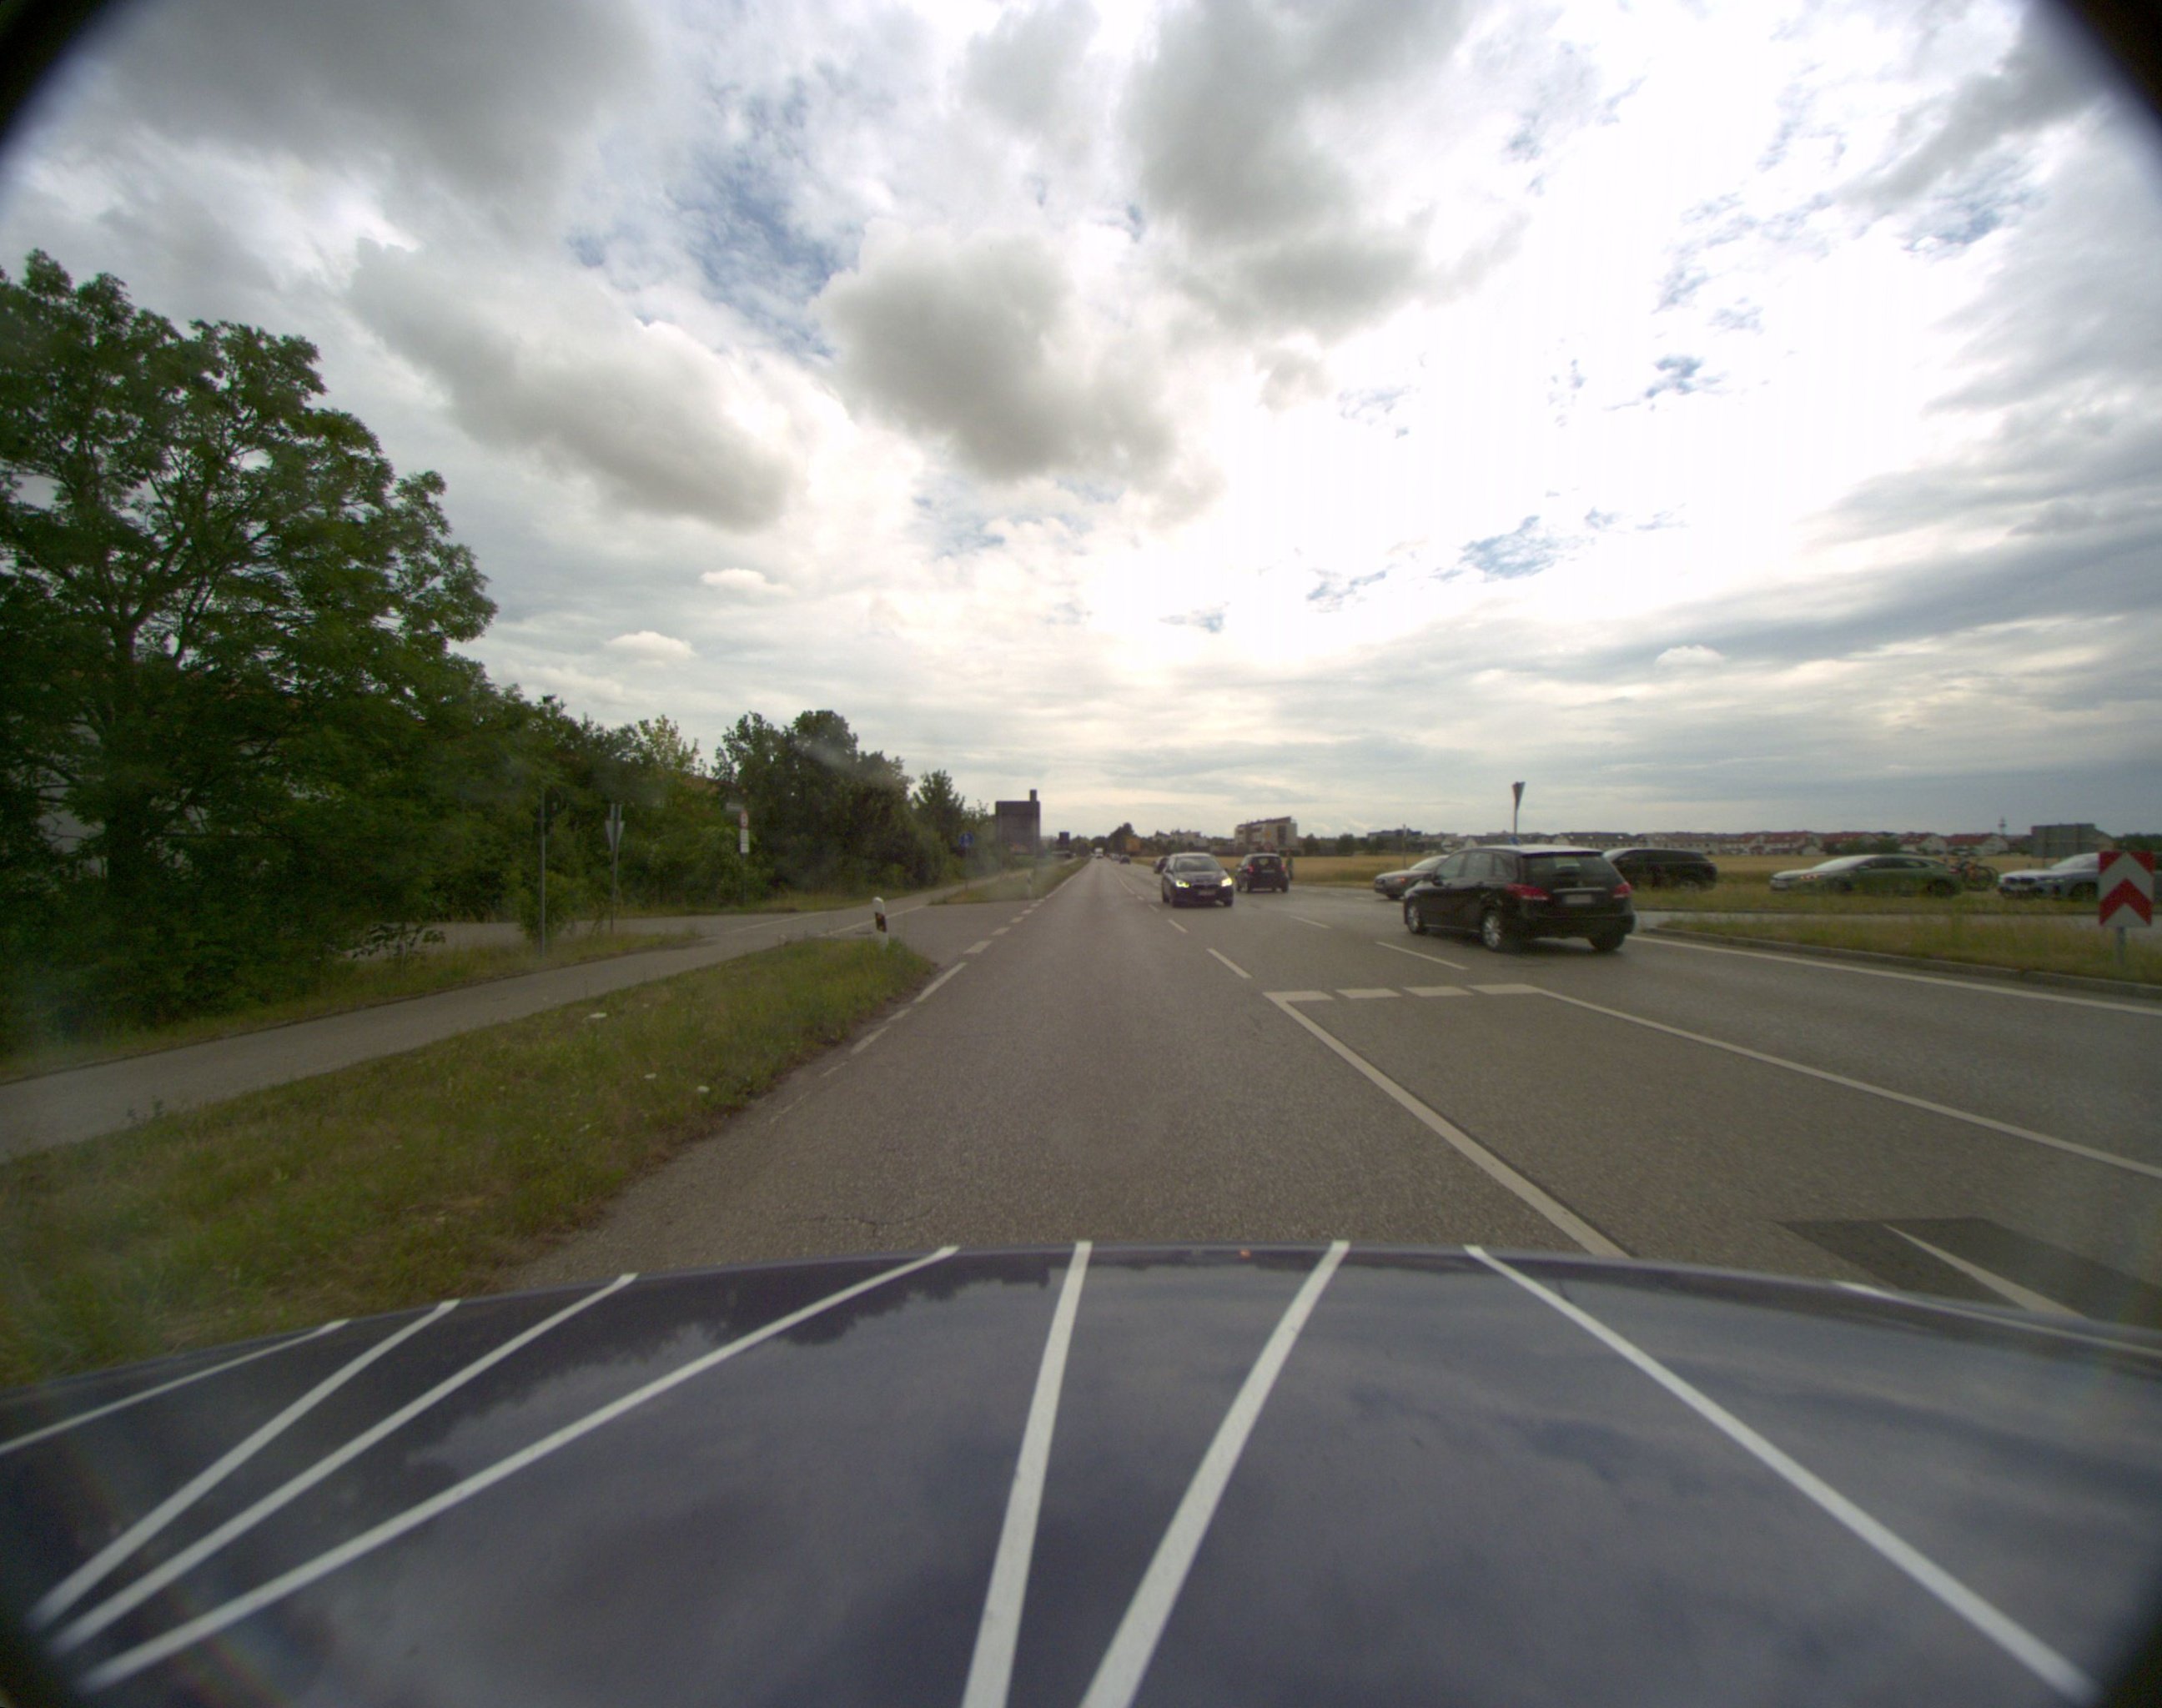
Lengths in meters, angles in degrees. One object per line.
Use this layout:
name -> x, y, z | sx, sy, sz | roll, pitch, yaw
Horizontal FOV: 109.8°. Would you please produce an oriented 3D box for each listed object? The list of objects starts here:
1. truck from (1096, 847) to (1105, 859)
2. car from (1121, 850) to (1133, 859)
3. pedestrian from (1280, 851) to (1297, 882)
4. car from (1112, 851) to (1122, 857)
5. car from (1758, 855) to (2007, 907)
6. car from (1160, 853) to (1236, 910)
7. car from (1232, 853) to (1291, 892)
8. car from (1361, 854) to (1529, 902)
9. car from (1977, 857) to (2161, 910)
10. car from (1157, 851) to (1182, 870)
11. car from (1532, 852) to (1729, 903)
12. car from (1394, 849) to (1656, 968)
truck -> 6.179, -0.285, 242.176 | 2.813, 3.588, 11.220 | 0, 0, 2
car -> 7.788, 0.050, 128.568 | 1.740, 1.450, 4.131 | 0, 0, 0
pedestrian -> 11.002, 0.636, 40.312 | 0.594, 1.596, 0.866 | 2, 1, -1
car -> 8.280, 0.020, 175.085 | 1.856, 1.480, 4.263 | 0, 0, -2
car -> 24.647, 0.793, 23.561 | 5.295, 1.512, 1.912 | 0, 0, 8
car -> 3.602, 0.789, 24.144 | 1.706, 1.602, 4.482 | -2, 0, 1
car -> 7.310, 0.714, 31.002 | 1.665, 1.475, 3.168 | -1, 0, 1
car -> 11.440, 0.720, 24.020 | 4.464, 1.416, 1.910 | 0, 0, -7
car -> 30.631, 0.859, 22.872 | 4.632, 1.508, 1.912 | 0, 0, 8
car -> 7.599, 0.545, 65.571 | 1.683, 1.512, 4.396 | -2, 0, 1
car -> 17.387, 0.725, 24.268 | 4.748, 1.523, 1.912 | 0, 0, 8
car -> 6.728, 0.719, 12.135 | 1.746, 1.521, 4.199 | -1, 0, 1
